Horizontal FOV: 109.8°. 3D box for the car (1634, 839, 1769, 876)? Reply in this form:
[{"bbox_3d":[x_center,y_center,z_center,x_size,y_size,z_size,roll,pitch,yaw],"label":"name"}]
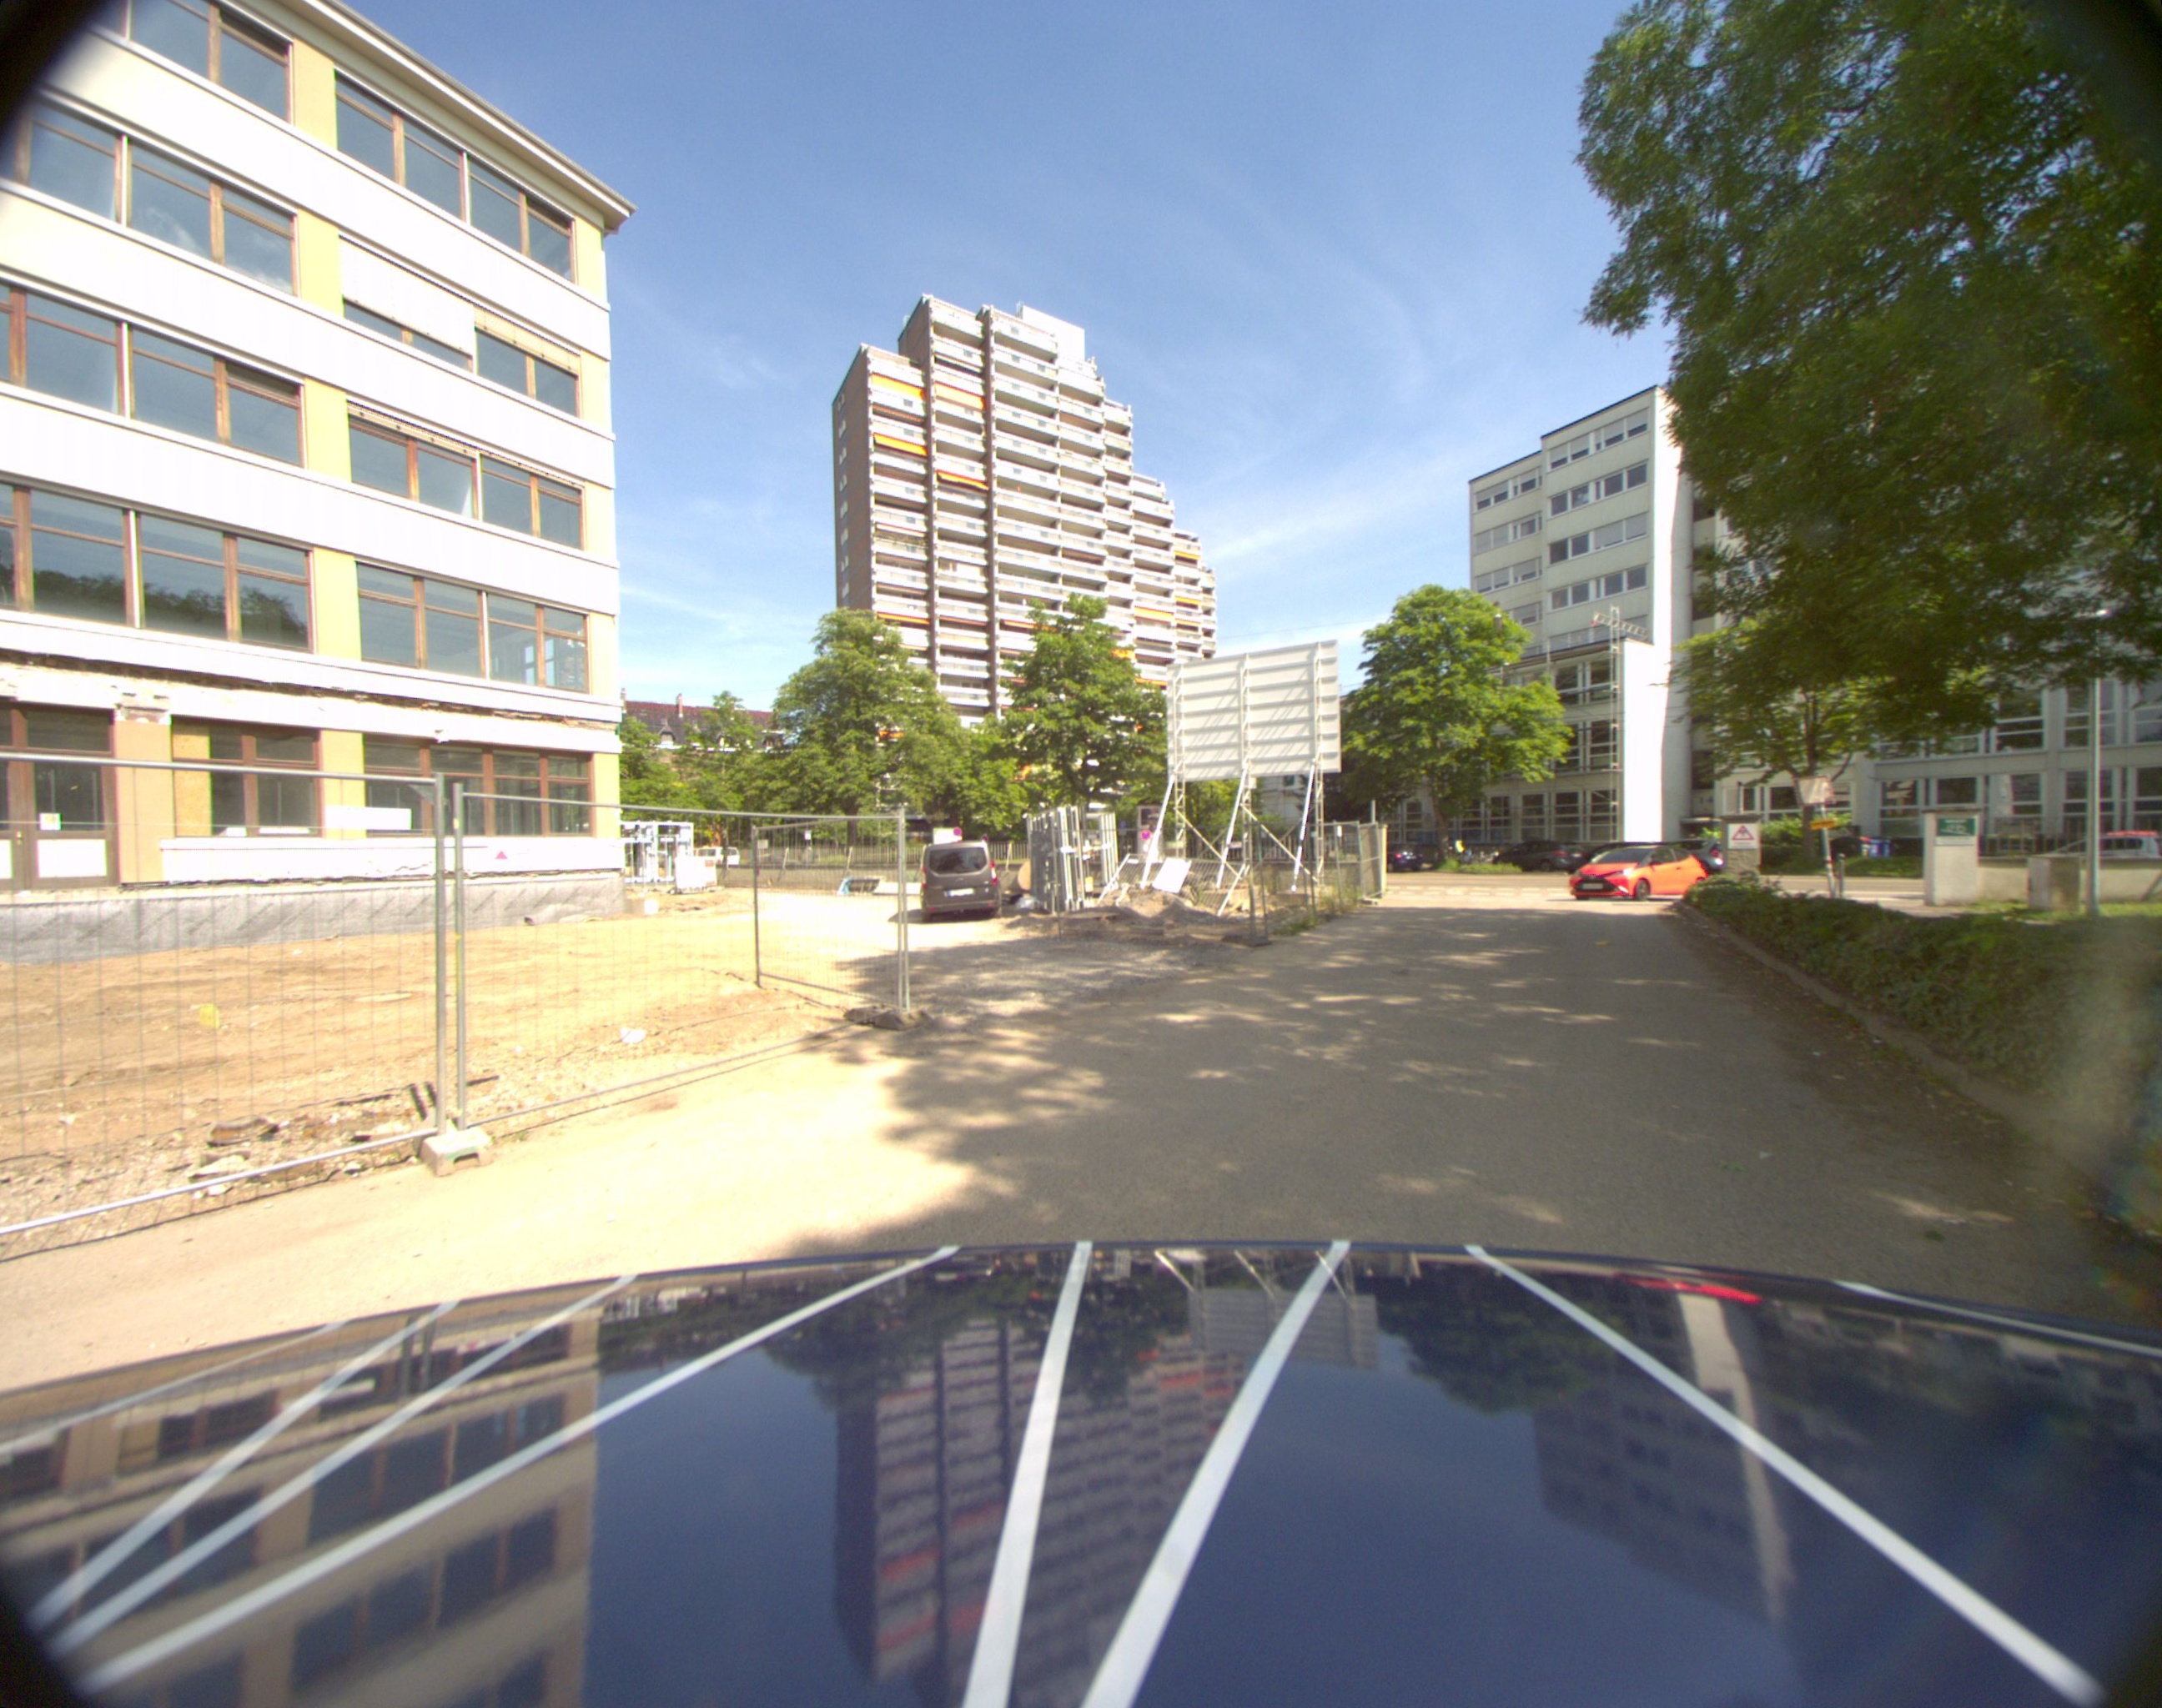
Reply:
[{"bbox_3d":[26.704,0.122,32.900,1.803,1.478,4.334,-1,1,-13],"label":"car"}]

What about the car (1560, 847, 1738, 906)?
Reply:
[{"bbox_3d":[14.815,0.551,19.837,4.179,1.404,1.660,0,0,-19],"label":"car"}]

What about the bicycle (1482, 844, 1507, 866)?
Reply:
[{"bbox_3d":[23.091,0.066,42.380,2.020,1.193,0.488,-1,1,-39],"label":"bicycle"}]

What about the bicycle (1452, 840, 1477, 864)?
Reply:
[{"bbox_3d":[22.078,-0.134,43.683,2.020,1.370,0.488,-1,1,-39],"label":"bicycle"}]

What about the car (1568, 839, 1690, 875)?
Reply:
[{"bbox_3d":[24.281,0.102,33.873,1.803,1.467,4.179,-1,1,-16],"label":"car"}]

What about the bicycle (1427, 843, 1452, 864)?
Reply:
[{"bbox_3d":[21.041,-0.010,44.568,2.020,1.193,0.488,-1,1,-40],"label":"bicycle"}]

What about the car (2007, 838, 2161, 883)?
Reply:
[{"bbox_3d":[35.414,0.189,26.412,1.709,1.455,3.849,-1,1,-2],"label":"car"}]

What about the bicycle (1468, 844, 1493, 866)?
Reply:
[{"bbox_3d":[22.571,0.043,42.880,2.020,1.193,0.488,-1,1,-39],"label":"bicycle"}]

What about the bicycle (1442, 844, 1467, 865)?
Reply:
[{"bbox_3d":[21.691,0.017,44.085,2.020,1.193,0.488,-1,1,-39],"label":"bicycle"}]

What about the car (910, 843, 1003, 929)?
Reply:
[{"bbox_3d":[-2.992,0.659,18.653,1.921,1.770,4.309,-3,1,-8],"label":"car"}]

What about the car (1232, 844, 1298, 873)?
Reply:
[{"bbox_3d":[10.137,0.212,42.278,1.843,1.402,4.141,-3,2,-14],"label":"car"}]

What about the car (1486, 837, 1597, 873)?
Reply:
[{"bbox_3d":[21.463,0.022,35.629,1.809,1.556,4.384,-1,1,-15],"label":"car"}]

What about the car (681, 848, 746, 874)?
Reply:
[{"bbox_3d":[-28.334,0.511,58.600,5.234,1.934,2.000,0,1,32],"label":"car"}]

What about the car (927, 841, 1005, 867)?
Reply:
[{"bbox_3d":[-6.858,0.019,45.271,4.378,1.513,1.947,-1,0,32],"label":"car"}]

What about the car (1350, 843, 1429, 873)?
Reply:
[{"bbox_3d":[15.695,0.180,38.846,1.655,1.443,3.994,-1,1,-15],"label":"car"}]
